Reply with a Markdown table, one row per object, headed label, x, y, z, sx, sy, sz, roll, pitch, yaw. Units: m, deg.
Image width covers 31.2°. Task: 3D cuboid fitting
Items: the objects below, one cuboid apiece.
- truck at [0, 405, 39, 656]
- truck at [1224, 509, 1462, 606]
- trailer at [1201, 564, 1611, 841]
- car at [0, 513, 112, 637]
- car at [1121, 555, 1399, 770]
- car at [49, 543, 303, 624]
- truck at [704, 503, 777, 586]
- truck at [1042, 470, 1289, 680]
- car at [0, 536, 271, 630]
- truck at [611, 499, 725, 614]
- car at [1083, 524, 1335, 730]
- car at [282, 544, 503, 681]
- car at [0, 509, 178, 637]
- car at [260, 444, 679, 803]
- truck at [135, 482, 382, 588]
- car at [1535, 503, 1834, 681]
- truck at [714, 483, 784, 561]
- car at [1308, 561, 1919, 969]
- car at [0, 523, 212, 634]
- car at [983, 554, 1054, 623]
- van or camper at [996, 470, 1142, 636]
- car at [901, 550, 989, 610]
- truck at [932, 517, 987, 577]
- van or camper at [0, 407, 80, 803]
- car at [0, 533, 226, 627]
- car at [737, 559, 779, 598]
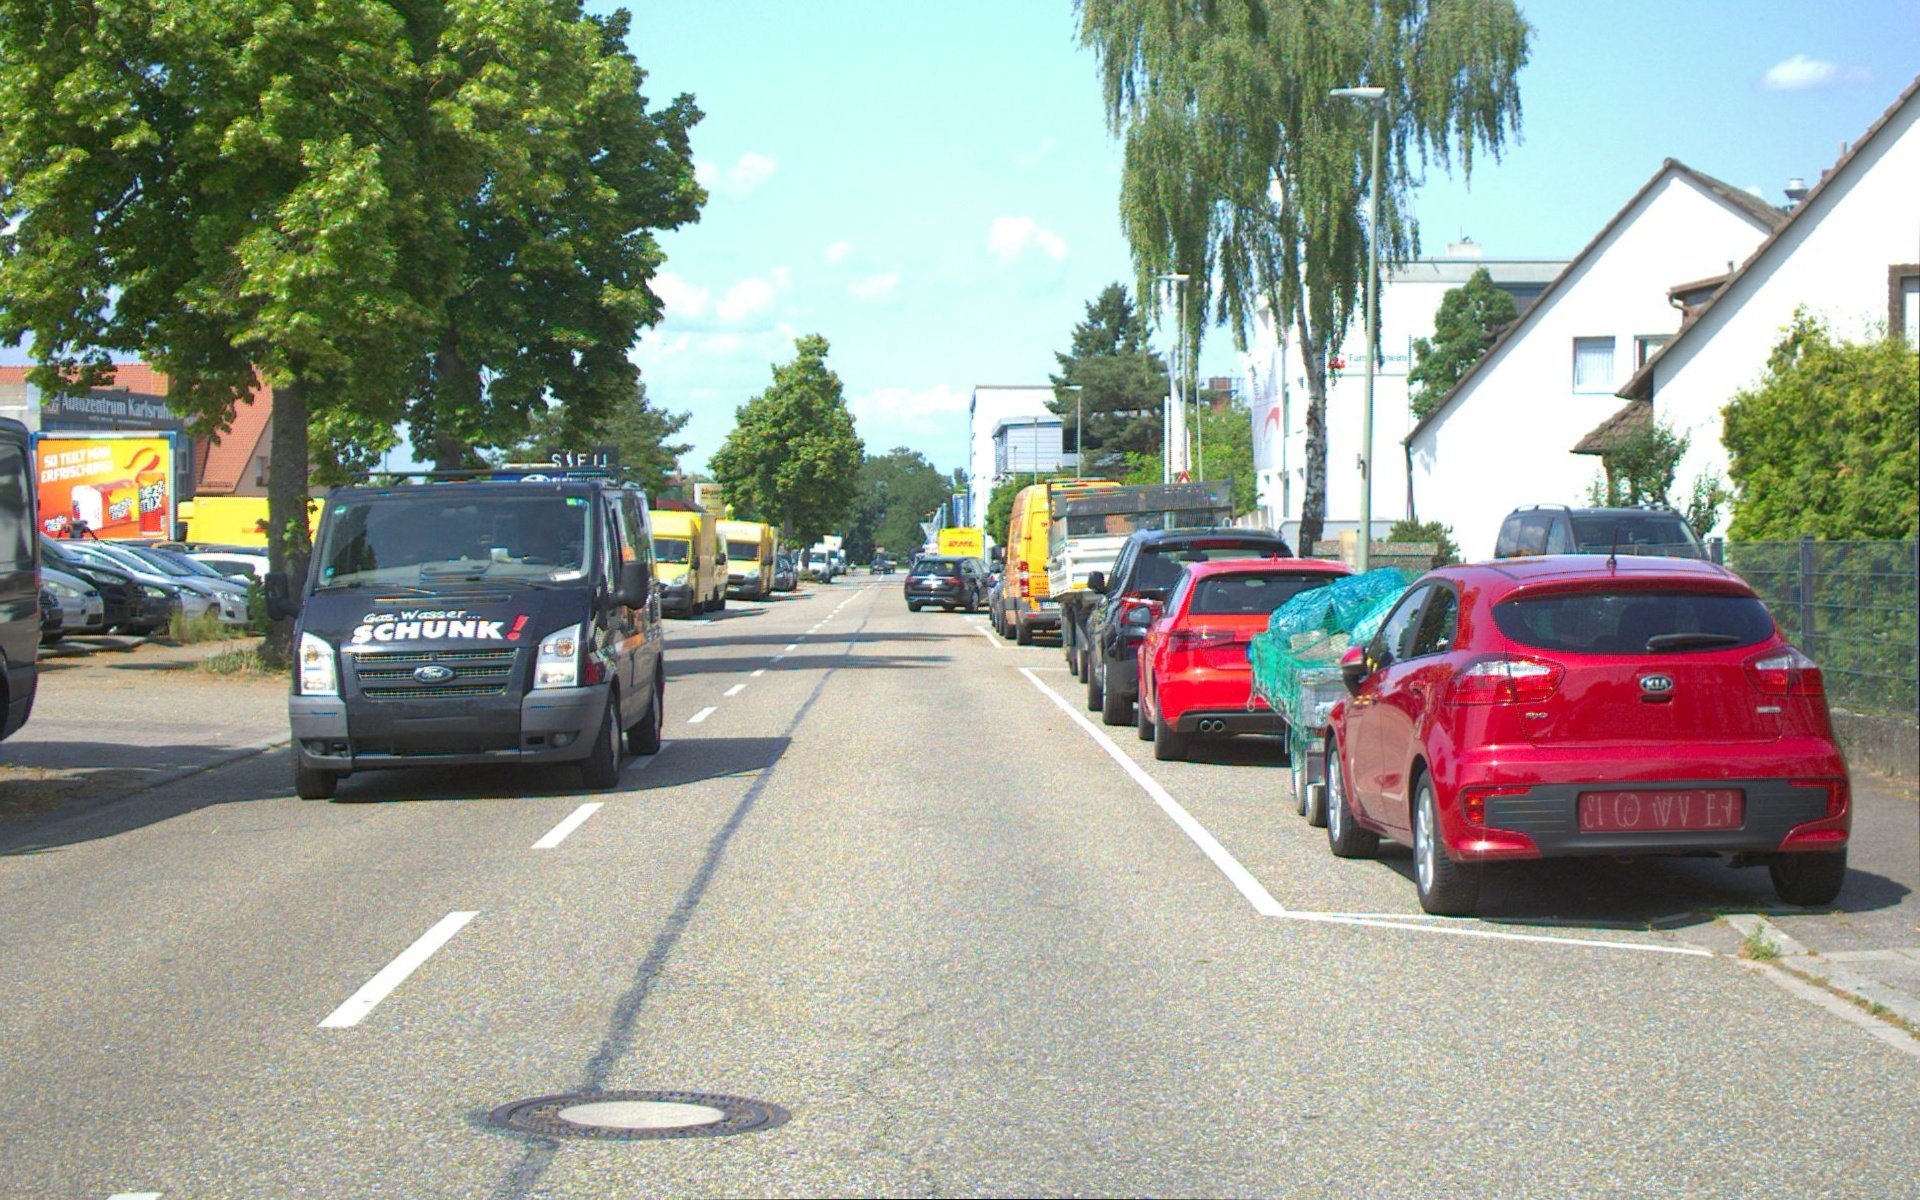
| label | x | y | z | sx | sy | sz | roll | pitch | yaw |
| --- | --- | --- | --- | --- | --- | --- | --- | --- | --- |
| truck | -15.538 | -0.759 | 39.300 | 9.259 | 2.846 | 2.720 | 0 | 1 | 4 |
| truck | 10.463 | -1.168 | 93.932 | 6.039 | 2.568 | 2.567 | 0 | 1 | -26 |
| trailer | 2.413 | 0.496 | 19.610 | 1.608 | 1.373 | 4.433 | 1 | 1 | -2 |
| car | -13.680 | -0.344 | 45.844 | 4.294 | 1.609 | 1.827 | 0 | 1 | -1 |
| car | 2.131 | 0.397 | 25.369 | 1.684 | 1.430 | 4.146 | 1 | 1 | 0 |
| car | -13.897 | -0.303 | 61.050 | 4.027 | 1.369 | 1.827 | 1 | 1 | 4 |
| truck | -7.850 | -1.941 | 123.533 | 2.269 | 2.845 | 7.175 | 1 | 0 | -2 |
| truck | 2.325 | -0.318 | 40.705 | 2.522 | 2.291 | 5.895 | 0 | 1 | 0 |
| car | -13.485 | -0.275 | 55.959 | 4.144 | 1.485 | 1.827 | 0 | 0 | 2 |
| truck | -7.599 | -1.147 | 90.068 | 2.220 | 2.847 | 7.069 | 2 | 1 | 1 |
| car | 2.100 | 0.182 | 30.130 | 1.830 | 1.656 | 4.554 | 0 | 1 | 0 |
| car | -6.708 | 0.109 | 41.040 | 1.699 | 1.478 | 4.158 | 2 | 1 | 3 |
| car | -13.417 | -0.376 | 48.885 | 4.144 | 1.782 | 1.827 | 0 | 0 | 2 |
| car | -3.063 | 0.099 | 22.577 | 2.051 | 2.027 | 5.142 | -2 | 1 | -1 |
| truck | -20.648 | -1.913 | 101.292 | 6.601 | 2.840 | 2.527 | 2 | 1 | 12 |
| car | 8.000 | -0.127 | 38.462 | 1.856 | 1.859 | 5.022 | 0 | 1 | -6 |
| truck | -8.160 | -2.987 | 133.449 | 2.316 | 2.853 | 7.105 | 3 | 1 | -1 |
| car | 2.701 | 0.577 | 14.898 | 1.691 | 1.458 | 4.756 | 1 | 1 | -2 |
| car | -13.391 | -0.314 | 51.014 | 4.144 | 1.613 | 1.827 | 0 | 0 | 2 |
| car | 1.385 | -0.297 | 82.020 | 1.610 | 1.575 | 4.000 | 1 | 1 | 1 |
| van or camper | 1.778 | -0.796 | 57.939 | 1.993 | 2.655 | 5.770 | 0 | 1 | -3 |
| car | -0.375 | -0.534 | 88.899 | 1.429 | 1.514 | 3.014 | 0 | 1 | 18 |
| truck | -0.064 | -2.654 | 173.367 | 2.474 | 2.930 | 7.189 | 1 | 1 | -2 |
| van or camper | -6.595 | 0.008 | 18.382 | 1.994 | 2.309 | 5.934 | 3 | 1 | 1 |
| car | -13.638 | -0.304 | 53.188 | 4.144 | 1.426 | 1.827 | 0 | 0 | 2 |
| car | -8.902 | -0.948 | 151.728 | 1.724 | 1.598 | 4.415 | 3 | 1 | -3 |
